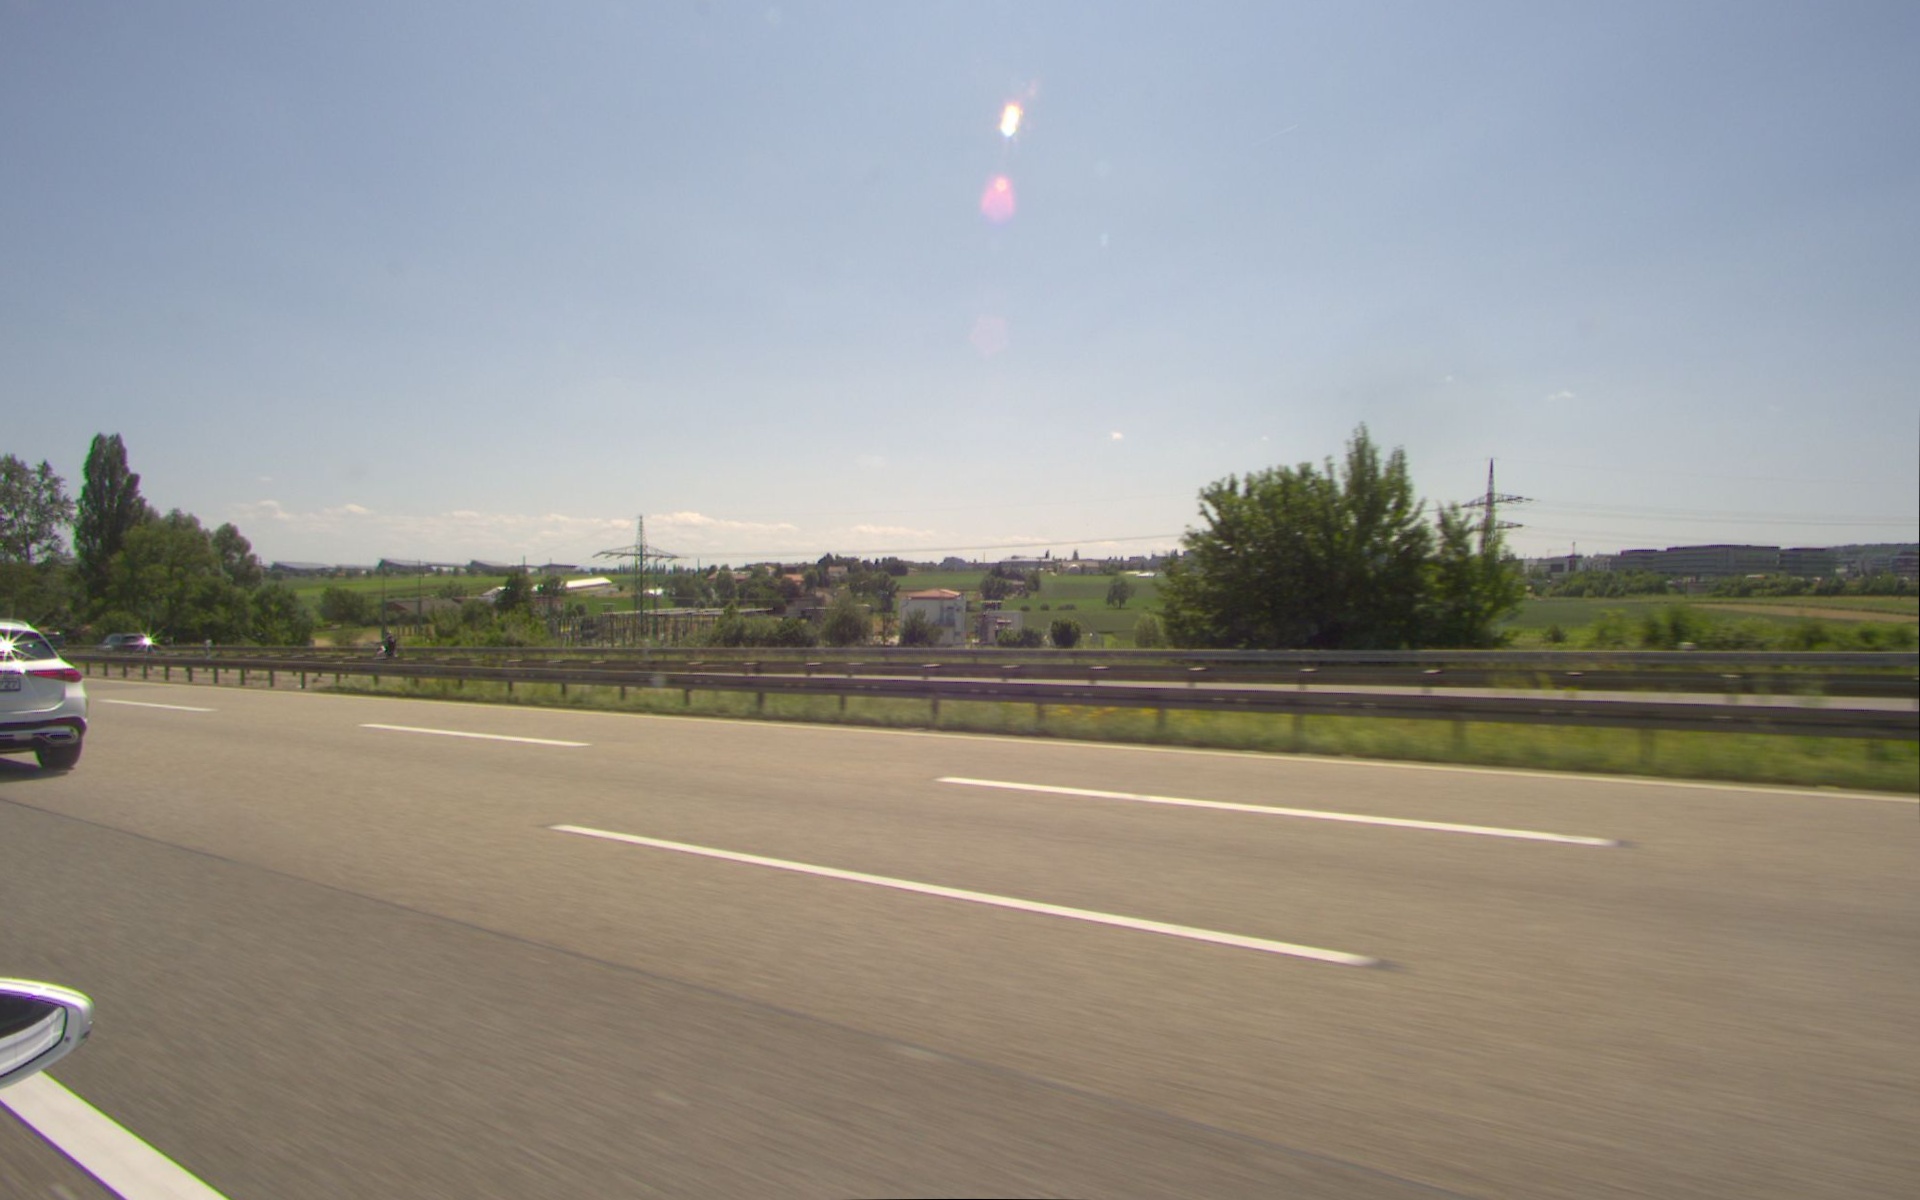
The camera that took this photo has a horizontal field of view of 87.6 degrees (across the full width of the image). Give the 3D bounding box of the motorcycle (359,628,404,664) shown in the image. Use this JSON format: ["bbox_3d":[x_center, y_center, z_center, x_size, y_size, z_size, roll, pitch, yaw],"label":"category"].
[{"bbox_3d":[-22.676,1.790,39.217,1.843,1.384,0.759,-1,-2,32],"label":"motorcycle"}]

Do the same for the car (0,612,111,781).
[{"bbox_3d":[-11.619,1.002,11.162,4.927,1.667,1.895,-1,-2,32],"label":"car"}]

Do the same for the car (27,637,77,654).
[{"bbox_3d":[-69.865,3.479,77.048,3.939,1.293,1.698,-1,-2,29],"label":"car"}]

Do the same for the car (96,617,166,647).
[{"bbox_3d":[-45.436,1.778,54.870,4.067,1.595,1.698,-1,-2,31],"label":"car"}]

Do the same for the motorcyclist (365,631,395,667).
[{"bbox_3d":[-22.711,1.903,39.215,0.866,1.384,0.667,-1,-2,32],"label":"motorcyclist"}]

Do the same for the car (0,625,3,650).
[{"bbox_3d":[-75.707,2.865,77.071,4.119,1.948,1.936,-1,-2,32],"label":"car"}]
